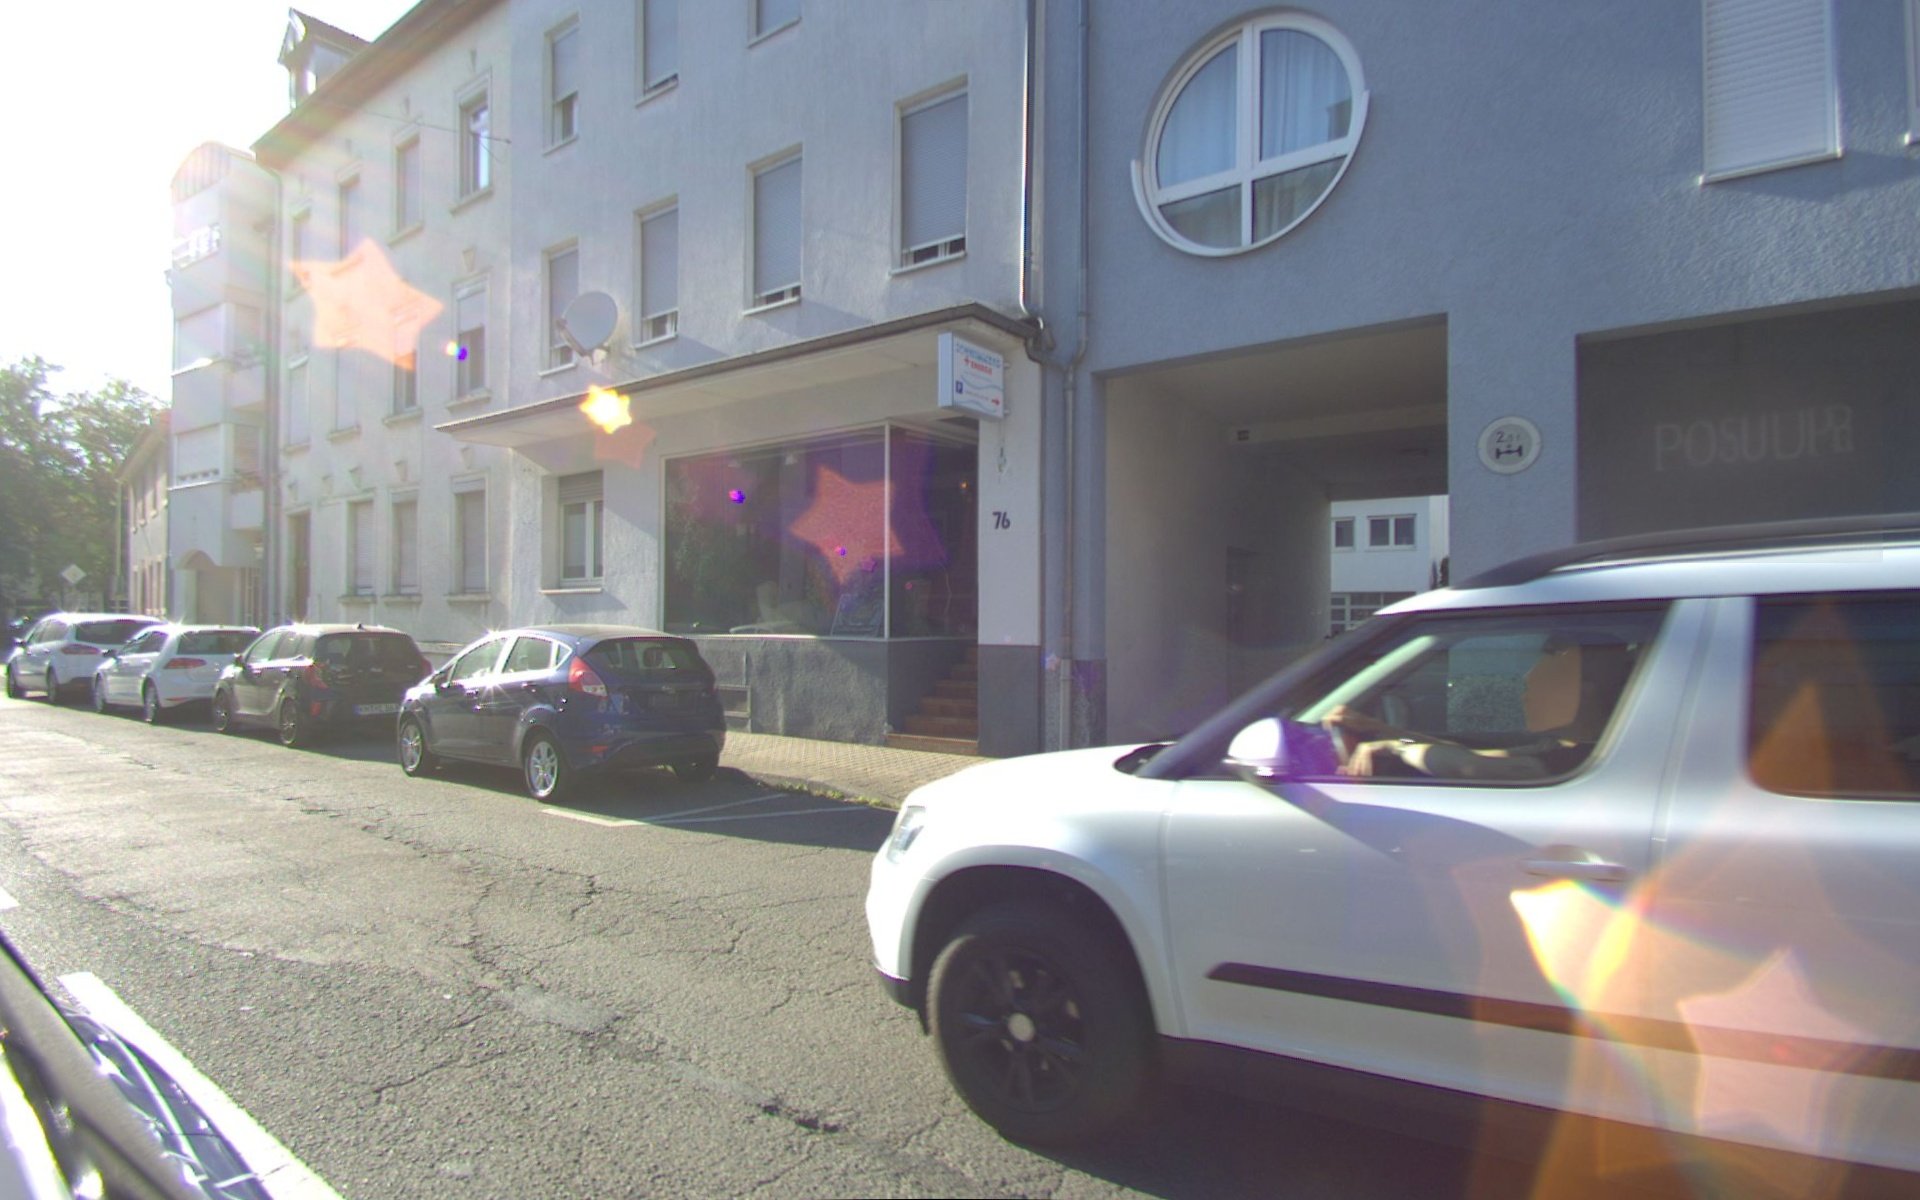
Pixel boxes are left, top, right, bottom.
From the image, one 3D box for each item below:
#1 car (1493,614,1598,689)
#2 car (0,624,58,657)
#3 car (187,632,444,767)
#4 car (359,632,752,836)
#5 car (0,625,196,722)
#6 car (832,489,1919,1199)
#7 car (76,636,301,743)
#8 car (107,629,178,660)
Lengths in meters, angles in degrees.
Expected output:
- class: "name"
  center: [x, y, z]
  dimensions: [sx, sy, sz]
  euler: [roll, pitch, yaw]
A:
- class: "car"
  center: [14.301, 1.212, 24.647]
  dimensions: [1.898, 1.682, 3.491]
  euler: [-1, -2, 35]
- class: "car"
  center: [-57.059, 2.464, 61.739]
  dimensions: [4.892, 1.909, 1.828]
  euler: [-2, -2, 33]
- class: "car"
  center: [-8.584, 1.213, 13.390]
  dimensions: [3.803, 1.538, 1.644]
  euler: [-2, -4, 38]
- class: "car"
  center: [-3.958, 1.090, 9.652]
  dimensions: [3.954, 1.511, 1.714]
  euler: [-1, -3, 38]
- class: "car"
  center: [-17.032, 1.338, 19.692]
  dimensions: [5.210, 1.660, 1.976]
  euler: [-2, -2, 35]
- class: "car"
  center: [1.865, 0.704, 2.702]
  dimensions: [4.177, 1.714, 1.794]
  euler: [-1, -3, 31]
- class: "car"
  center: [-12.457, 1.366, 16.272]
  dimensions: [4.118, 1.507, 1.748]
  euler: [-2, -5, 37]
- class: "car"
  center: [-53.937, 2.901, 66.773]
  dimensions: [4.299, 1.963, 2.007]
  euler: [-1, -2, 25]
